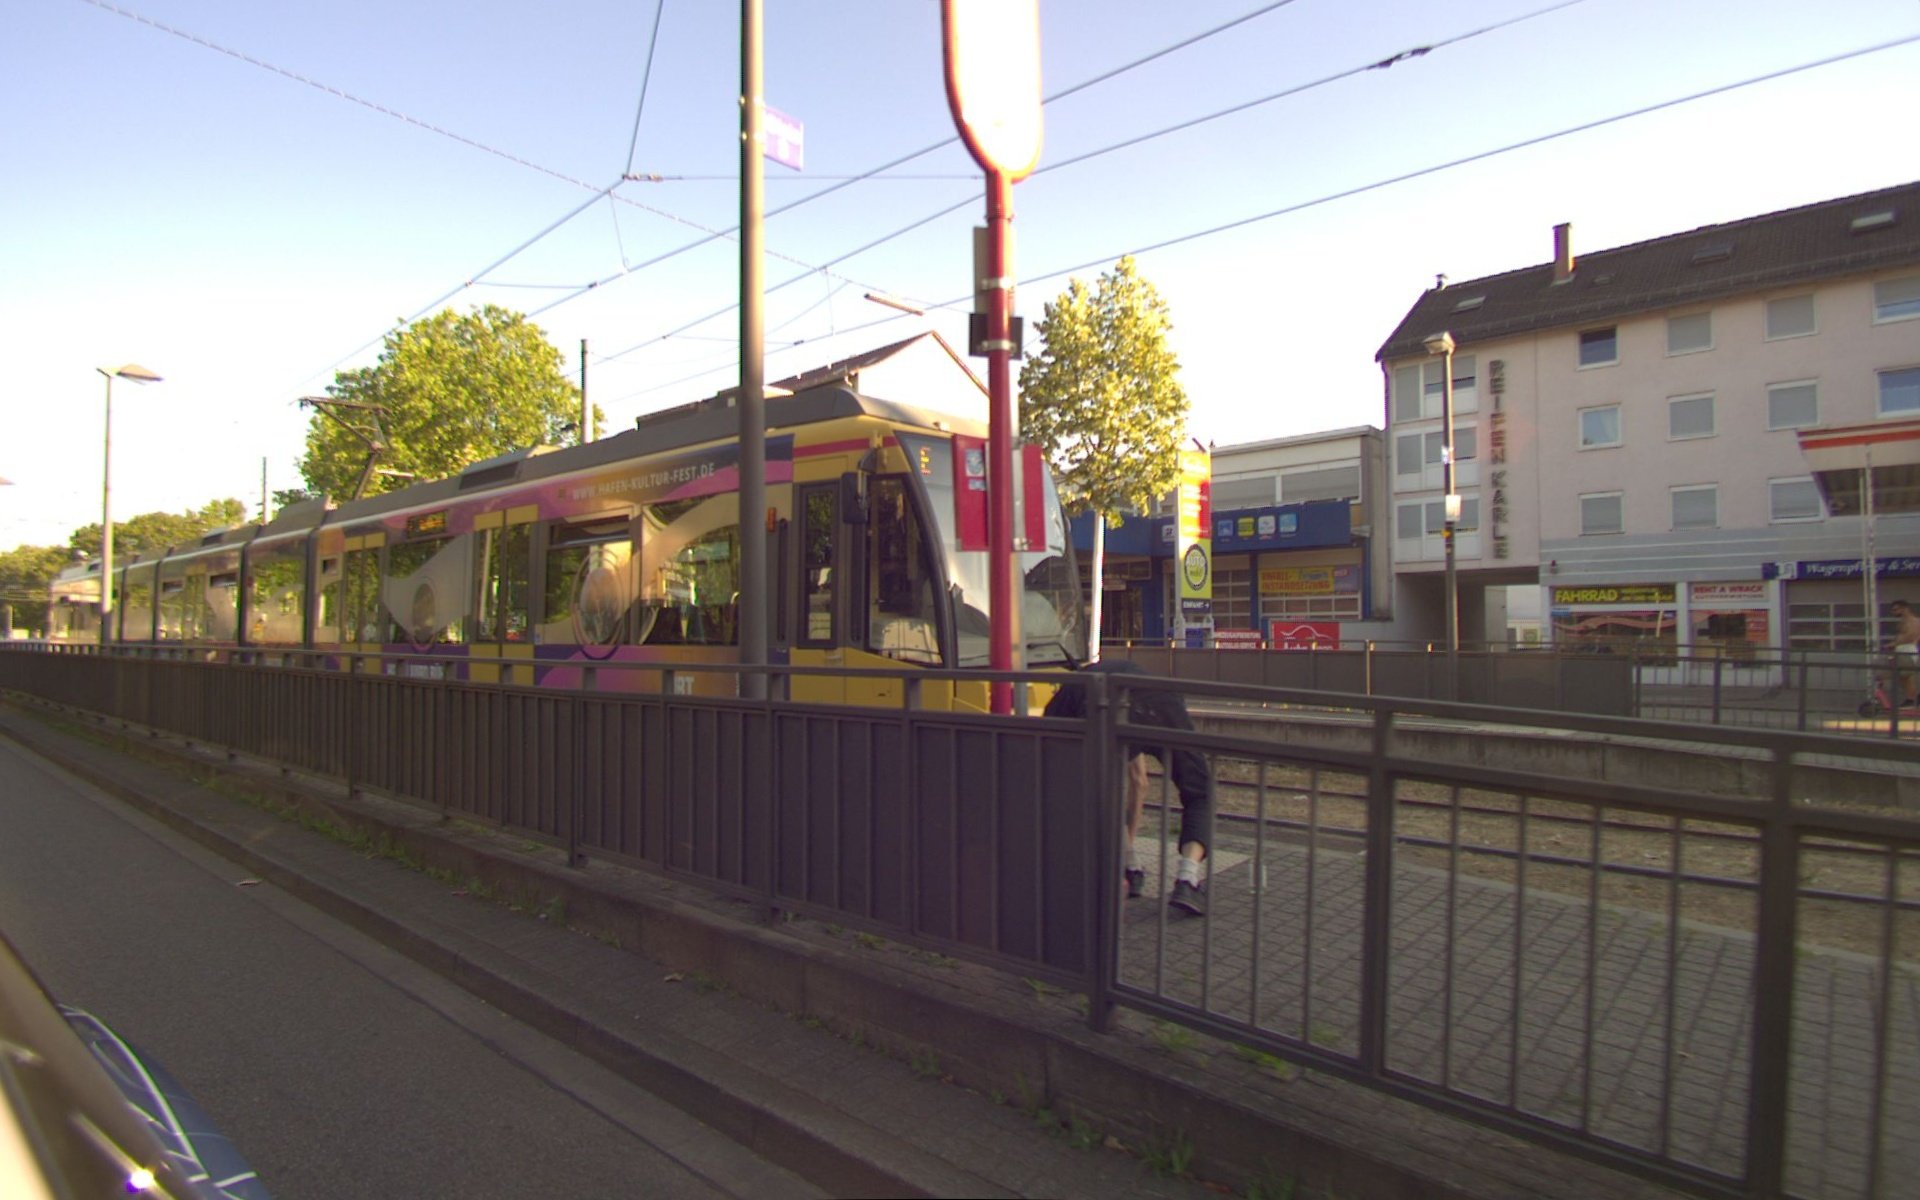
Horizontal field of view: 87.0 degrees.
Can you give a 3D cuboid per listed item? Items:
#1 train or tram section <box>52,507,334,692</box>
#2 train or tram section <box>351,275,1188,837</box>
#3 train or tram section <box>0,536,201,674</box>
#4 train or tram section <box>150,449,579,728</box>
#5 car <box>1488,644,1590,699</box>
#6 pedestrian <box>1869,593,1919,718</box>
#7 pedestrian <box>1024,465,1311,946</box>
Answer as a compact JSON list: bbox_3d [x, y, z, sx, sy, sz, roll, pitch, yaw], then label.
[{"bbox_3d":[-18.307,0.123,23.777,10.088,3.544,3.004,-1,-3,40],"label":"train or tram section"},{"bbox_3d":[-2.853,-0.162,10.779,10.088,3.544,3.004,-1,-3,40],"label":"train or tram section"},{"bbox_3d":[-26.039,0.266,30.285,10.088,3.544,3.004,-1,-3,40],"label":"train or tram section"},{"bbox_3d":[-10.580,-0.016,17.262,10.088,3.544,3.004,-1,-3,40],"label":"train or tram section"},{"bbox_3d":[17.522,2.104,30.551,1.818,1.535,3.752,-2,-3,44],"label":"car"},{"bbox_3d":[14.834,0.843,15.698,0.999,1.896,0.745,-2,0,40],"label":"pedestrian"},{"bbox_3d":[0.820,0.349,3.893,0.787,1.562,0.908,-2,-1,32],"label":"pedestrian"}]
